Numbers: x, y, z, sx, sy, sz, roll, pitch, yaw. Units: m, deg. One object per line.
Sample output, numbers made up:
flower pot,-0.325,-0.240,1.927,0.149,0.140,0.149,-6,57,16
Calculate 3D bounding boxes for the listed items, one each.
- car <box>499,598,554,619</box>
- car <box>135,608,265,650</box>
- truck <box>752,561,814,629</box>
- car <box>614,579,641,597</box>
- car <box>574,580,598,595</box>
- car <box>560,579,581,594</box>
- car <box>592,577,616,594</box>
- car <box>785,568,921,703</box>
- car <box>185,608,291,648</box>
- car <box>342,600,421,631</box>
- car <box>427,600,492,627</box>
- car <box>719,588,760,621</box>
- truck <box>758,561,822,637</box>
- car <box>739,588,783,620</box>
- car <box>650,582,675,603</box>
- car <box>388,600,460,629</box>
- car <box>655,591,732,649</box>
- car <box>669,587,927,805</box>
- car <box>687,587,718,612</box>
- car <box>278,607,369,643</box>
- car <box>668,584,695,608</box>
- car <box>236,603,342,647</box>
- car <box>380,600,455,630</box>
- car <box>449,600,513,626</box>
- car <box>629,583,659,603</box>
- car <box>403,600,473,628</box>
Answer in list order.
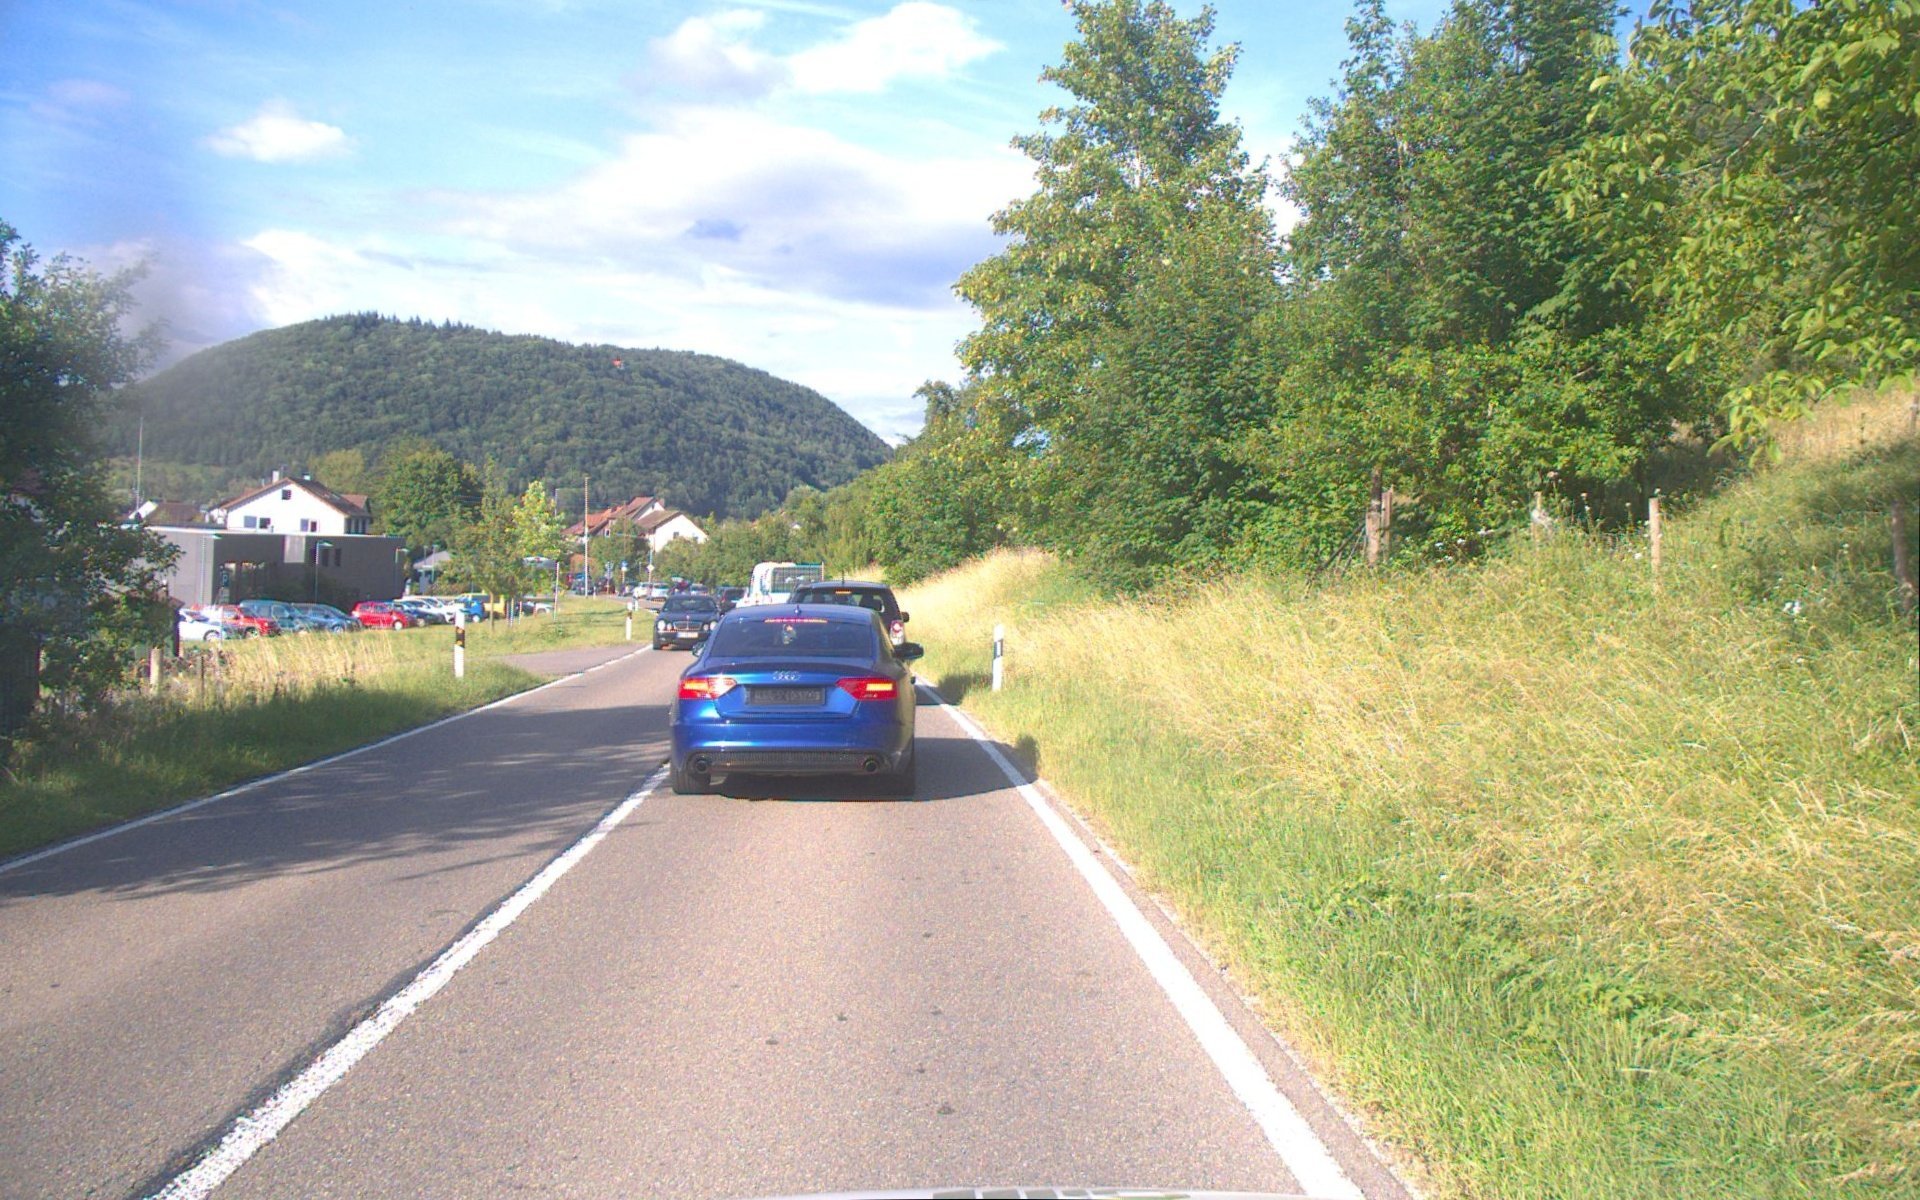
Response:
car,-33.861,0.671,129.178,3.911,1.606,1.750,1,0,-7
car,-32.651,1.224,71.183,4.641,1.741,1.997,1,0,-7
truck,-7.293,-0.176,67.654,2.188,2.615,6.693,1,0,-9
car,-31.953,-1.152,158.712,1.820,1.742,3.973,1,0,-22
car,-36.976,-1.262,163.466,1.681,1.455,4.021,1,0,-23
car,-45.223,-1.535,191.900,1.820,1.742,3.973,1,0,-22
car,-37.218,-1.515,172.854,1.820,1.742,3.973,1,0,-22
car,-1.481,0.459,23.015,1.719,1.710,3.843,1,0,-4
car,-32.360,1.235,74.245,3.911,1.741,1.997,1,0,-7
car,-33.133,0.877,94.815,3.911,1.741,1.997,1,0,-7
car,-33.917,0.914,112.097,3.911,1.741,1.997,1,0,-7
car,-12.081,0.219,90.373,1.814,1.742,3.986,1,0,-13
truck,-6.140,-0.028,59.887,2.187,2.615,6.096,1,0,-6
car,-9.699,0.200,80.491,1.813,1.508,3.989,1,0,-11
car,-24.577,-0.597,136.677,1.814,1.742,3.986,1,0,-13
car,-33.363,0.896,103.048,3.911,1.741,1.997,1,0,-7
car,-6.742,0.483,42.177,1.563,1.377,4.199,1,0,-4
car,-1.130,0.651,13.077,1.718,1.455,3.845,1,0,-1
car,-18.536,-0.042,118.906,1.815,1.742,3.985,1,0,-14
car,-32.347,1.261,84.117,3.911,1.741,1.997,1,0,-7
car,-21.487,-0.309,127.596,1.814,1.742,3.986,1,0,-13
car,-32.435,1.203,80.067,4.322,2.043,1.997,1,0,-7
car,-32.609,0.896,99.445,3.911,1.741,1.997,1,0,-7
car,-33.186,0.929,114.665,3.911,1.741,1.997,1,0,-7
car,-28.072,-0.585,146.755,1.820,1.742,3.973,1,0,-22
car,-33.521,0.903,106.328,3.911,1.741,1.997,1,0,-7
